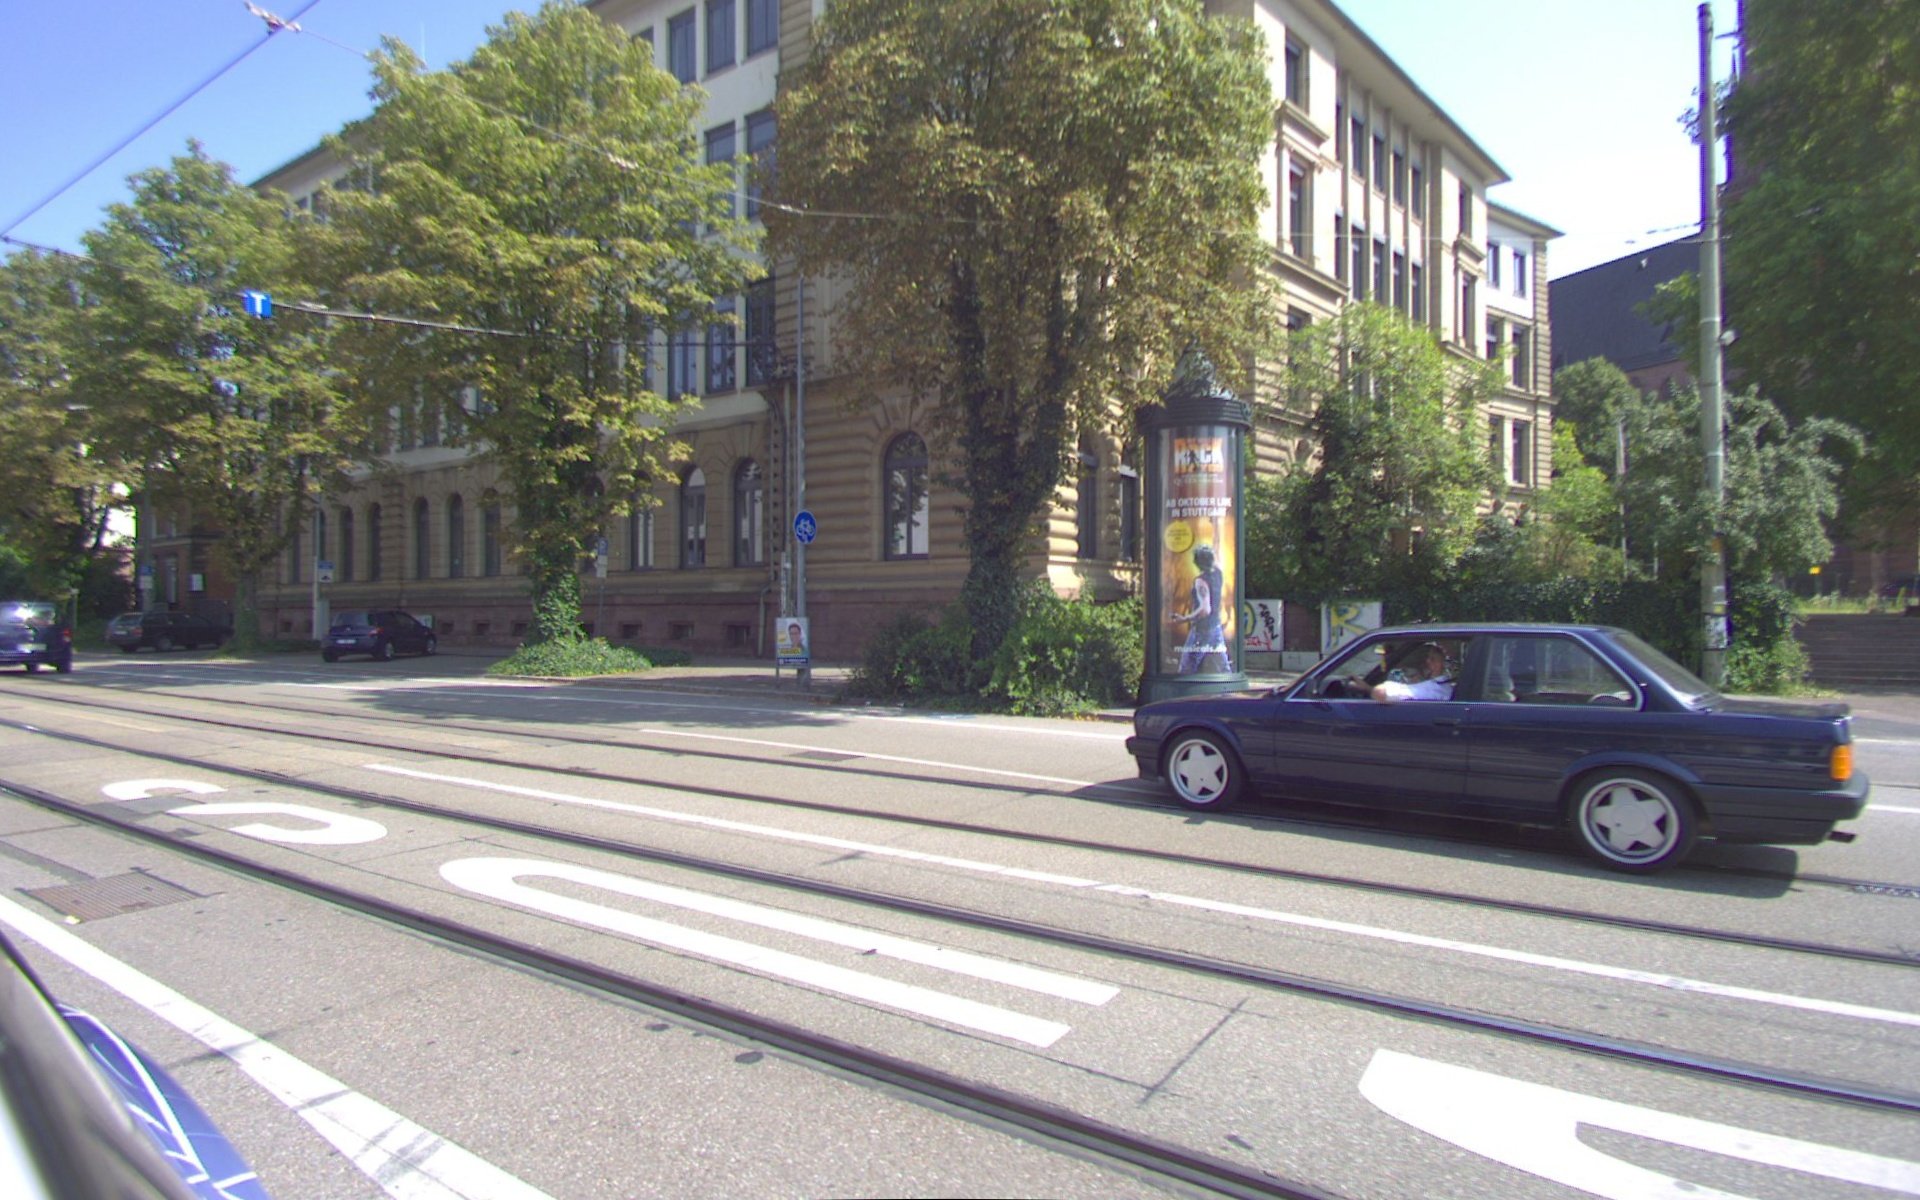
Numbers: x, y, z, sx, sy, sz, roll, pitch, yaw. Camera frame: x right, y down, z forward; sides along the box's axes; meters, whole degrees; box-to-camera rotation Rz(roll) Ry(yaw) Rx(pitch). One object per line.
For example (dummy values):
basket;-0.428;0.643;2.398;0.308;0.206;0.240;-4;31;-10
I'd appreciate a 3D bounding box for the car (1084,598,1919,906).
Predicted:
car;3.197;0.718;6.728;4.617;1.388;1.669;-1;-1;42

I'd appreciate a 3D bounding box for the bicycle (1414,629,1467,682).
bicycle;9.140;1.024;19.220;0.747;0.901;2.158;-1;-1;30

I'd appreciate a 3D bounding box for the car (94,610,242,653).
car;-29.536;1.143;37.939;1.799;1.473;4.420;-1;0;7

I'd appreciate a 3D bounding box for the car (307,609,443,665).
car;-17.028;1.040;29.680;1.794;1.507;4.167;-1;-1;-4

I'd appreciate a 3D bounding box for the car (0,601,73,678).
car;-22.276;0.878;23.529;3.572;1.667;1.677;-1;0;34
